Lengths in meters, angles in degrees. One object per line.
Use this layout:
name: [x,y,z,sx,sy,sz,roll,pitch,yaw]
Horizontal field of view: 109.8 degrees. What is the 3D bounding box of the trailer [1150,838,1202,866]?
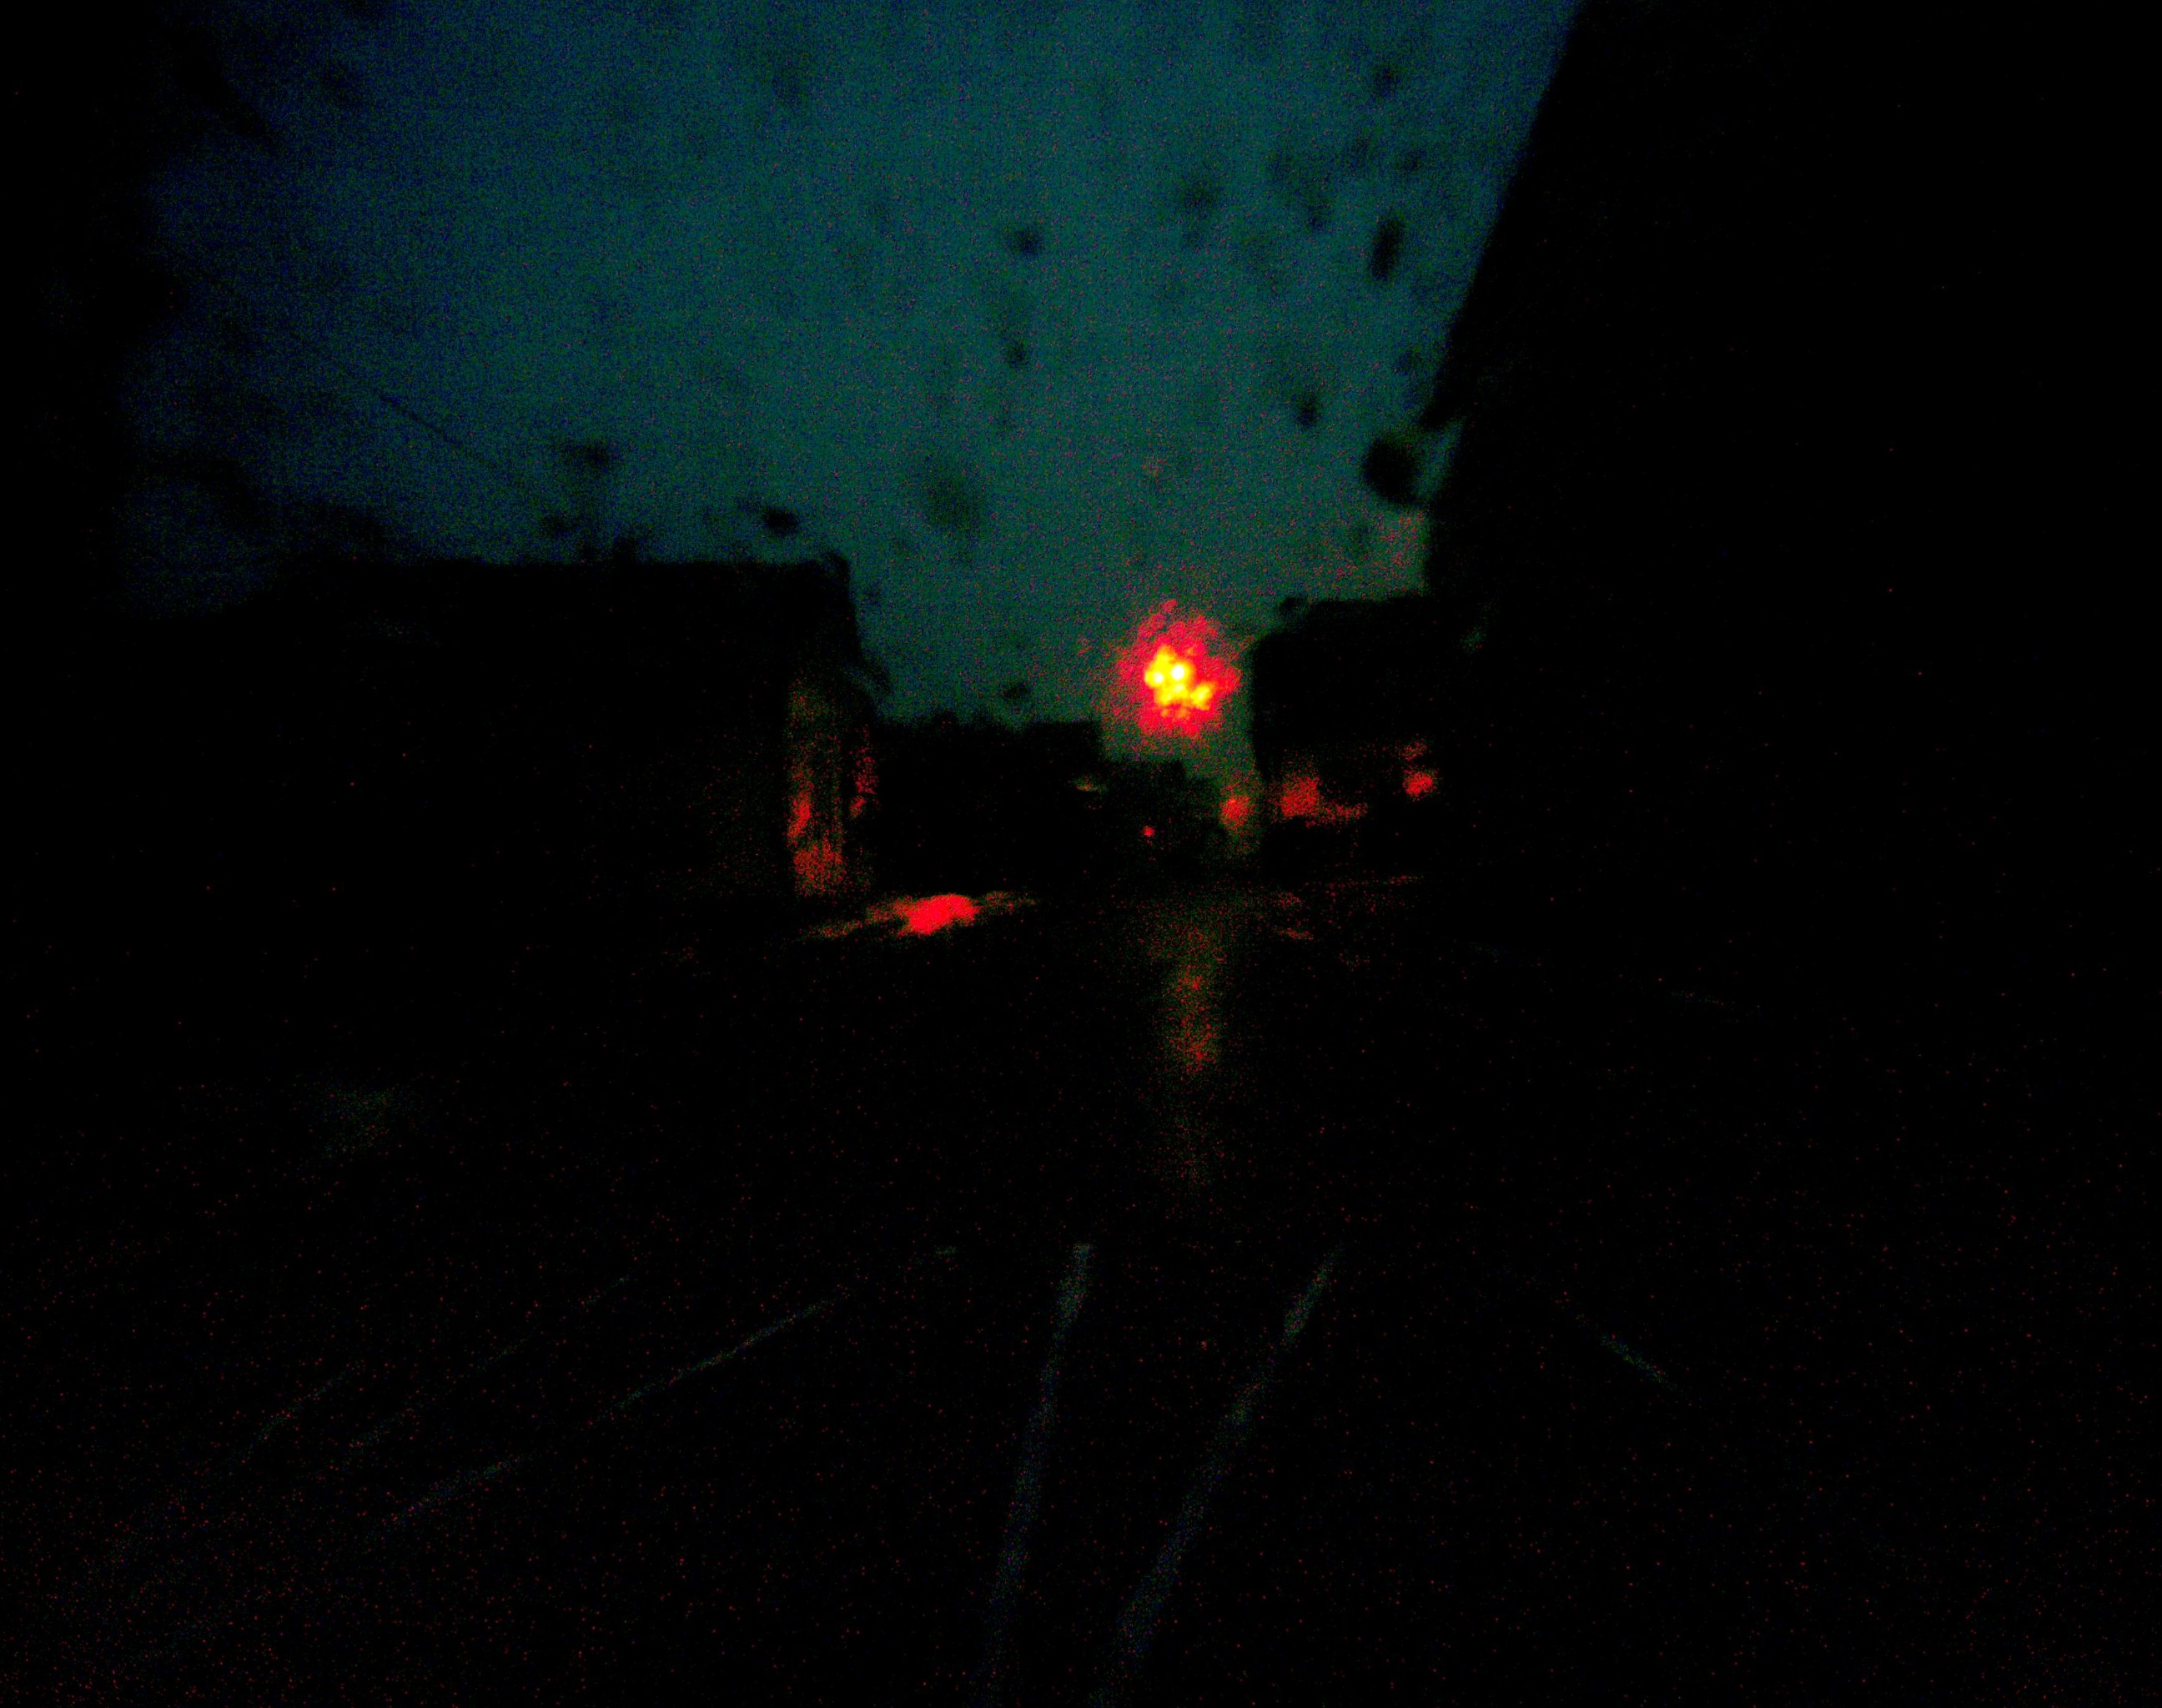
trailer: [5.802,-0.157,45.858,1.996,1.380,4.736,-5,1,20]
